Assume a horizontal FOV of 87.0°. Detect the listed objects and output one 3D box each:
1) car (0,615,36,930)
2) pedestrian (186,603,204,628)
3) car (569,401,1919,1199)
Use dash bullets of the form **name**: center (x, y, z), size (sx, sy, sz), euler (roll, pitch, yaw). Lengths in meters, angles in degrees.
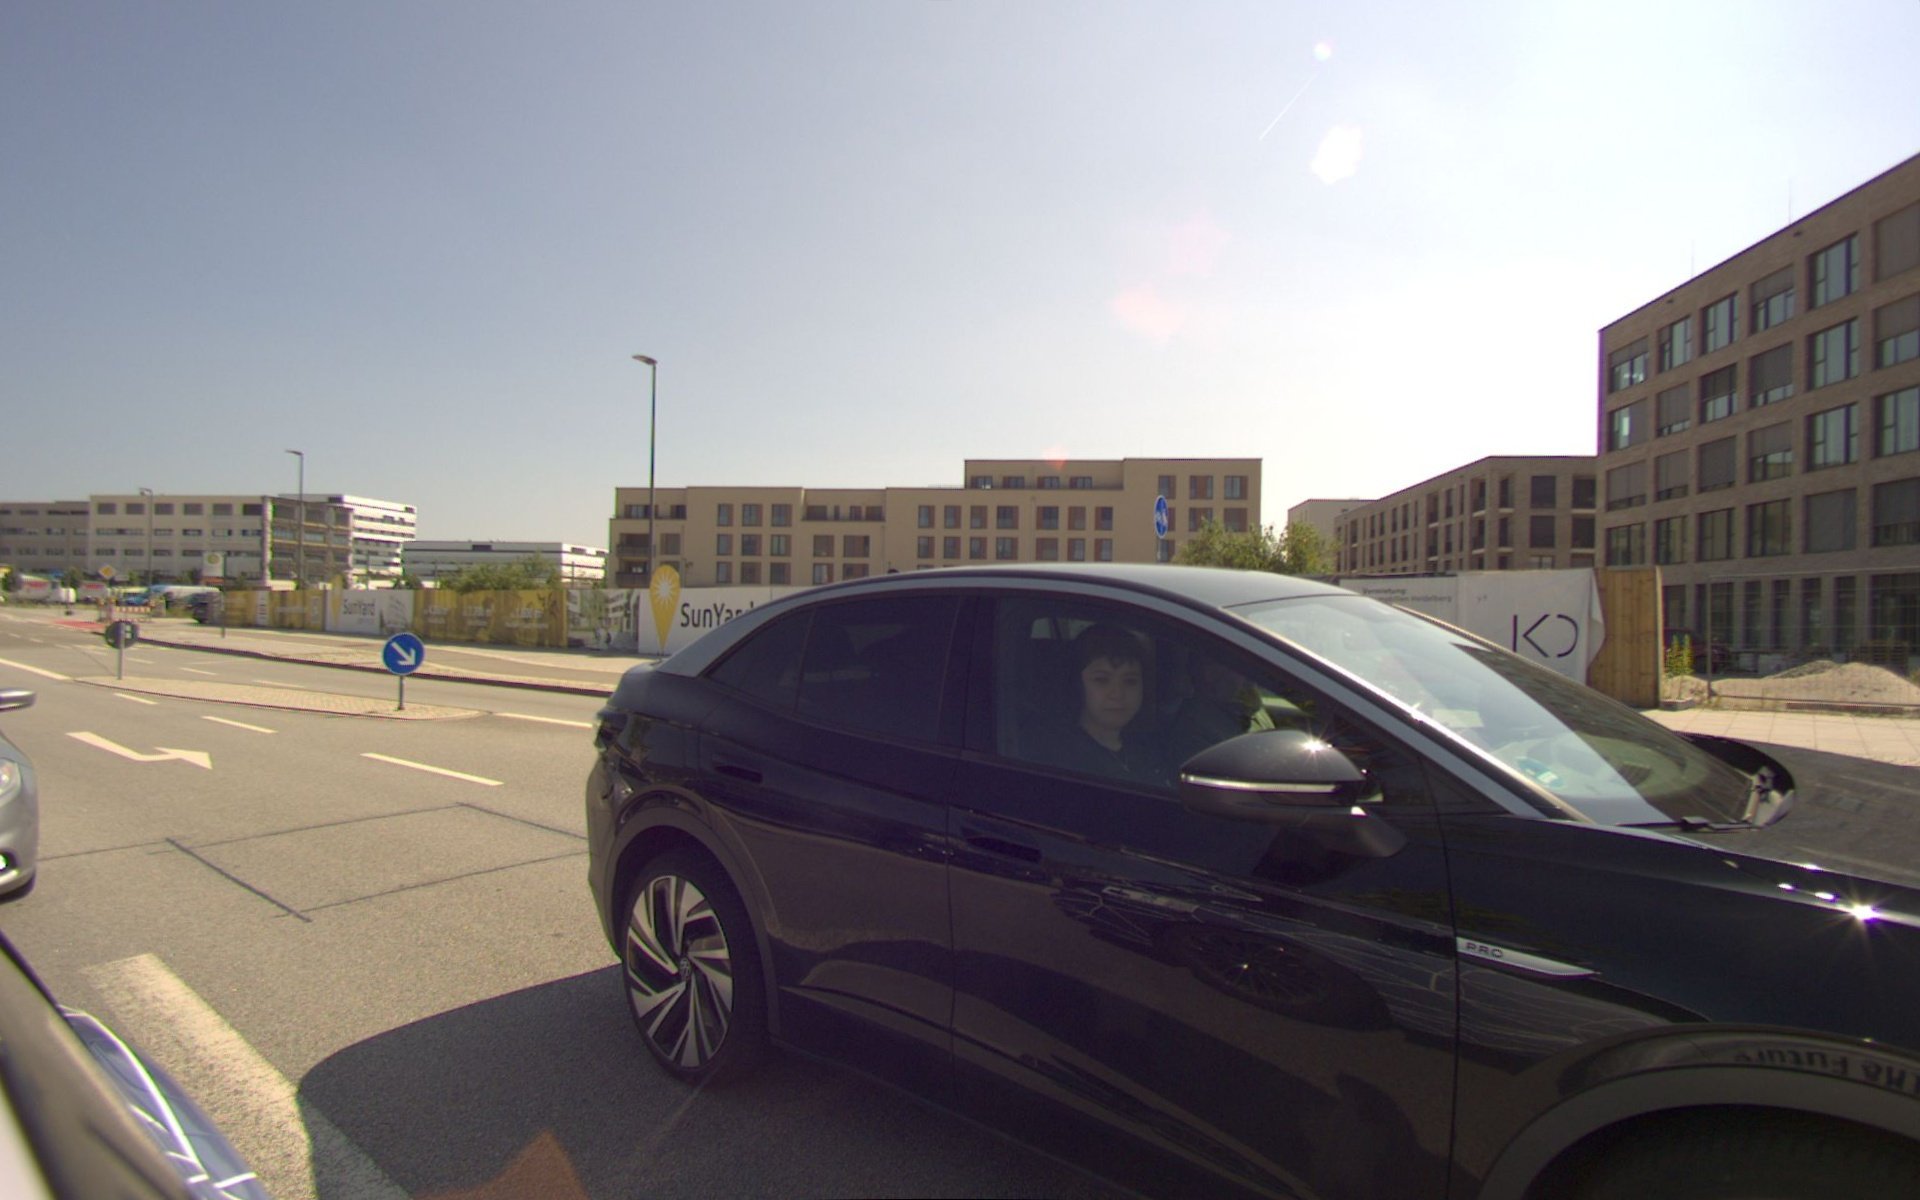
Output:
- **car**: center (-6.305, 0.791, 5.266), size (4.134, 1.390, 1.762), euler (-1, 0, 41)
- **pedestrian**: center (-49.280, 0.985, 65.204), size (0.610, 1.598, 0.703), euler (-1, 0, 5)
- **car**: center (0.902, 0.587, 2.663), size (4.364, 1.654, 1.783), euler (-1, 0, 41)
